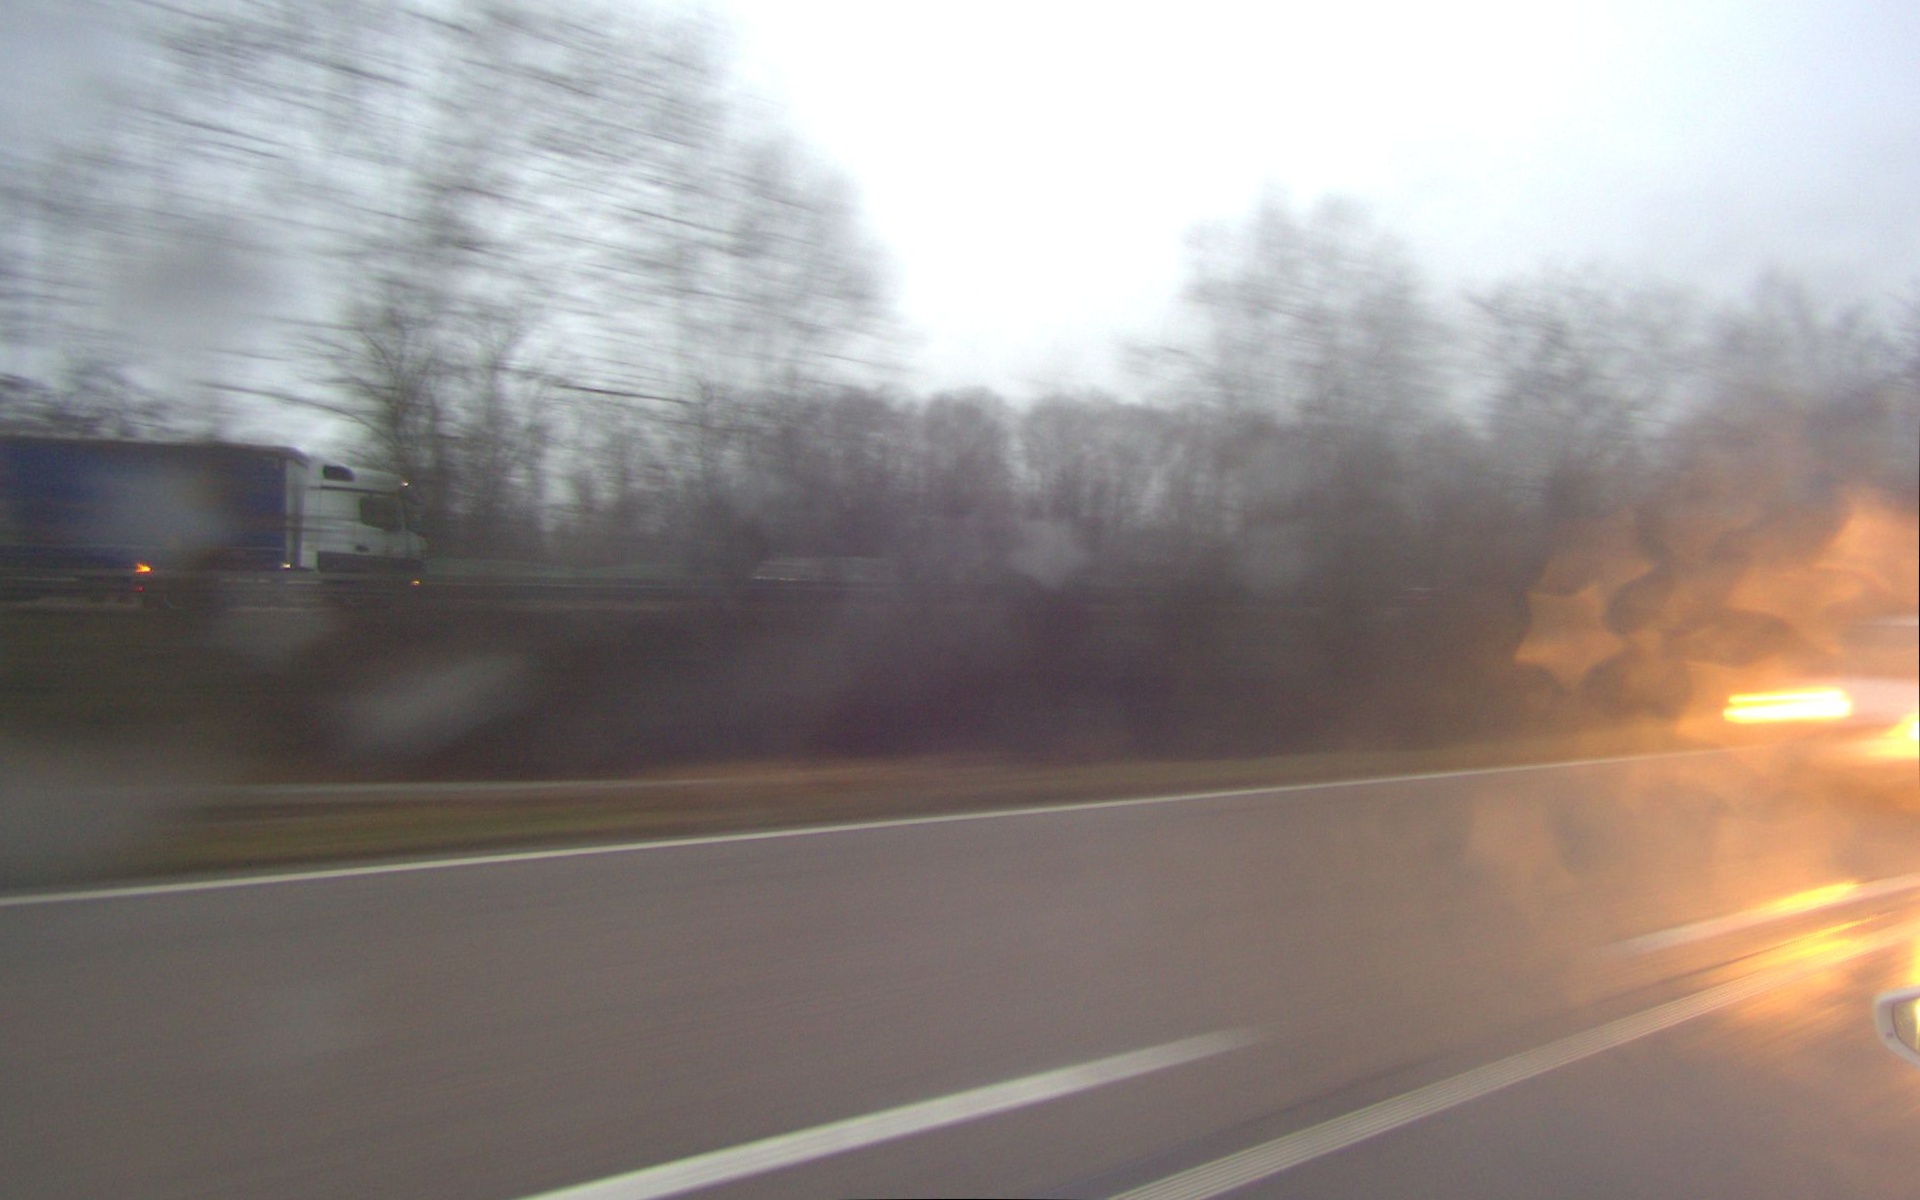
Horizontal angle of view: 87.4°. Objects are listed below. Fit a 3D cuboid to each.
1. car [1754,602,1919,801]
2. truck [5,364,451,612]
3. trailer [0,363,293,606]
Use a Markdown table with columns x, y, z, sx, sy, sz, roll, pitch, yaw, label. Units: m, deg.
| x | y | z | sx | sy | sz | roll | pitch | yaw | label |
| --- | --- | --- | --- | --- | --- | --- | --- | --- | --- |
| 9.322 | 0.857 | 9.289 | 3.950 | 1.596 | 1.693 | 1 | -1 | -28 | car |
| -17.930 | -2.460 | 25.598 | 8.399 | 5.197 | 3.268 | 3 | -2 | -23 | truck |
| -23.602 | -2.735 | 23.191 | 13.040 | 5.170 | 3.295 | 3 | -2 | -23 | trailer |
